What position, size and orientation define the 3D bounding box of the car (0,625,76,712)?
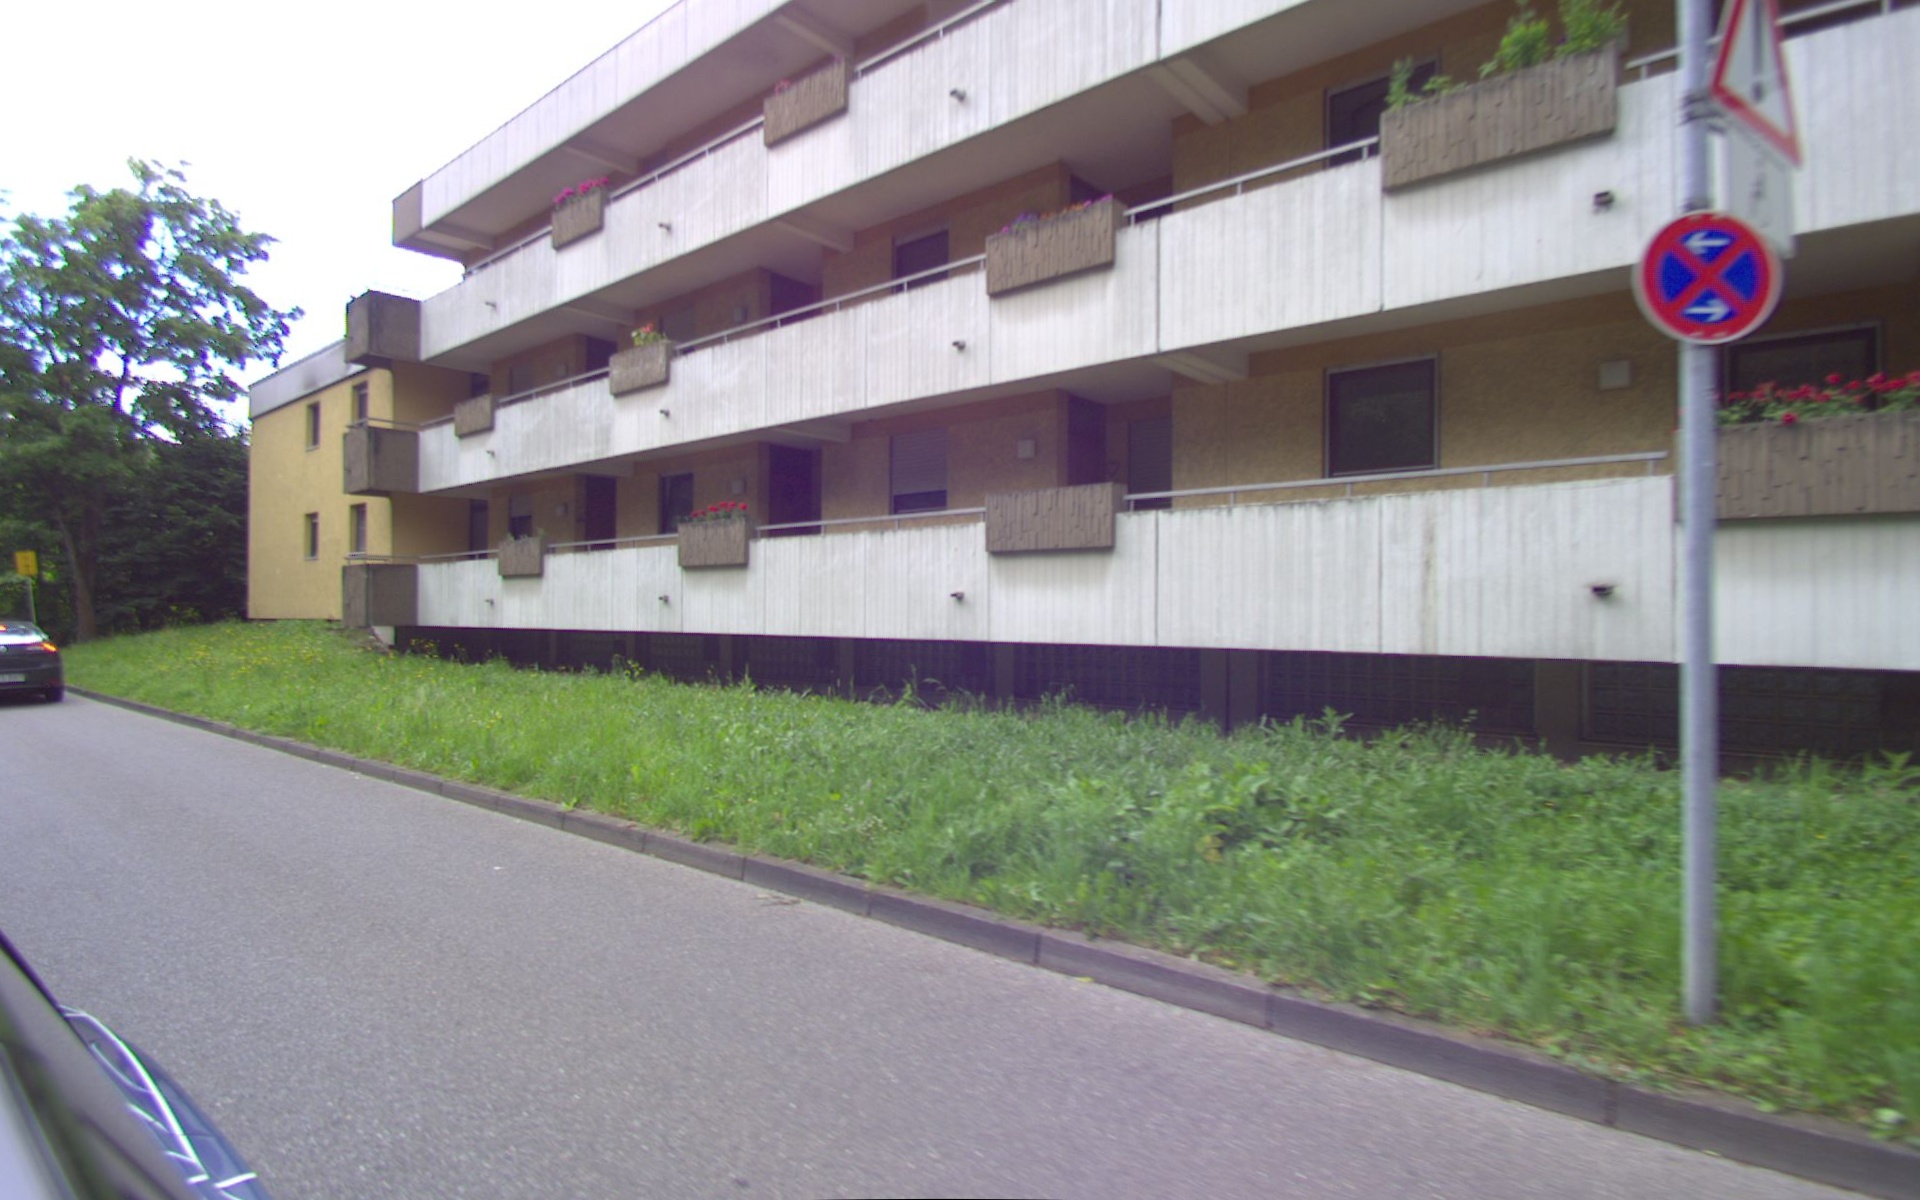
[{"bbox_3d":[-17.578,1.186,18.217,4.421,1.422,1.894,-1,-1,41],"label":"car"}]
